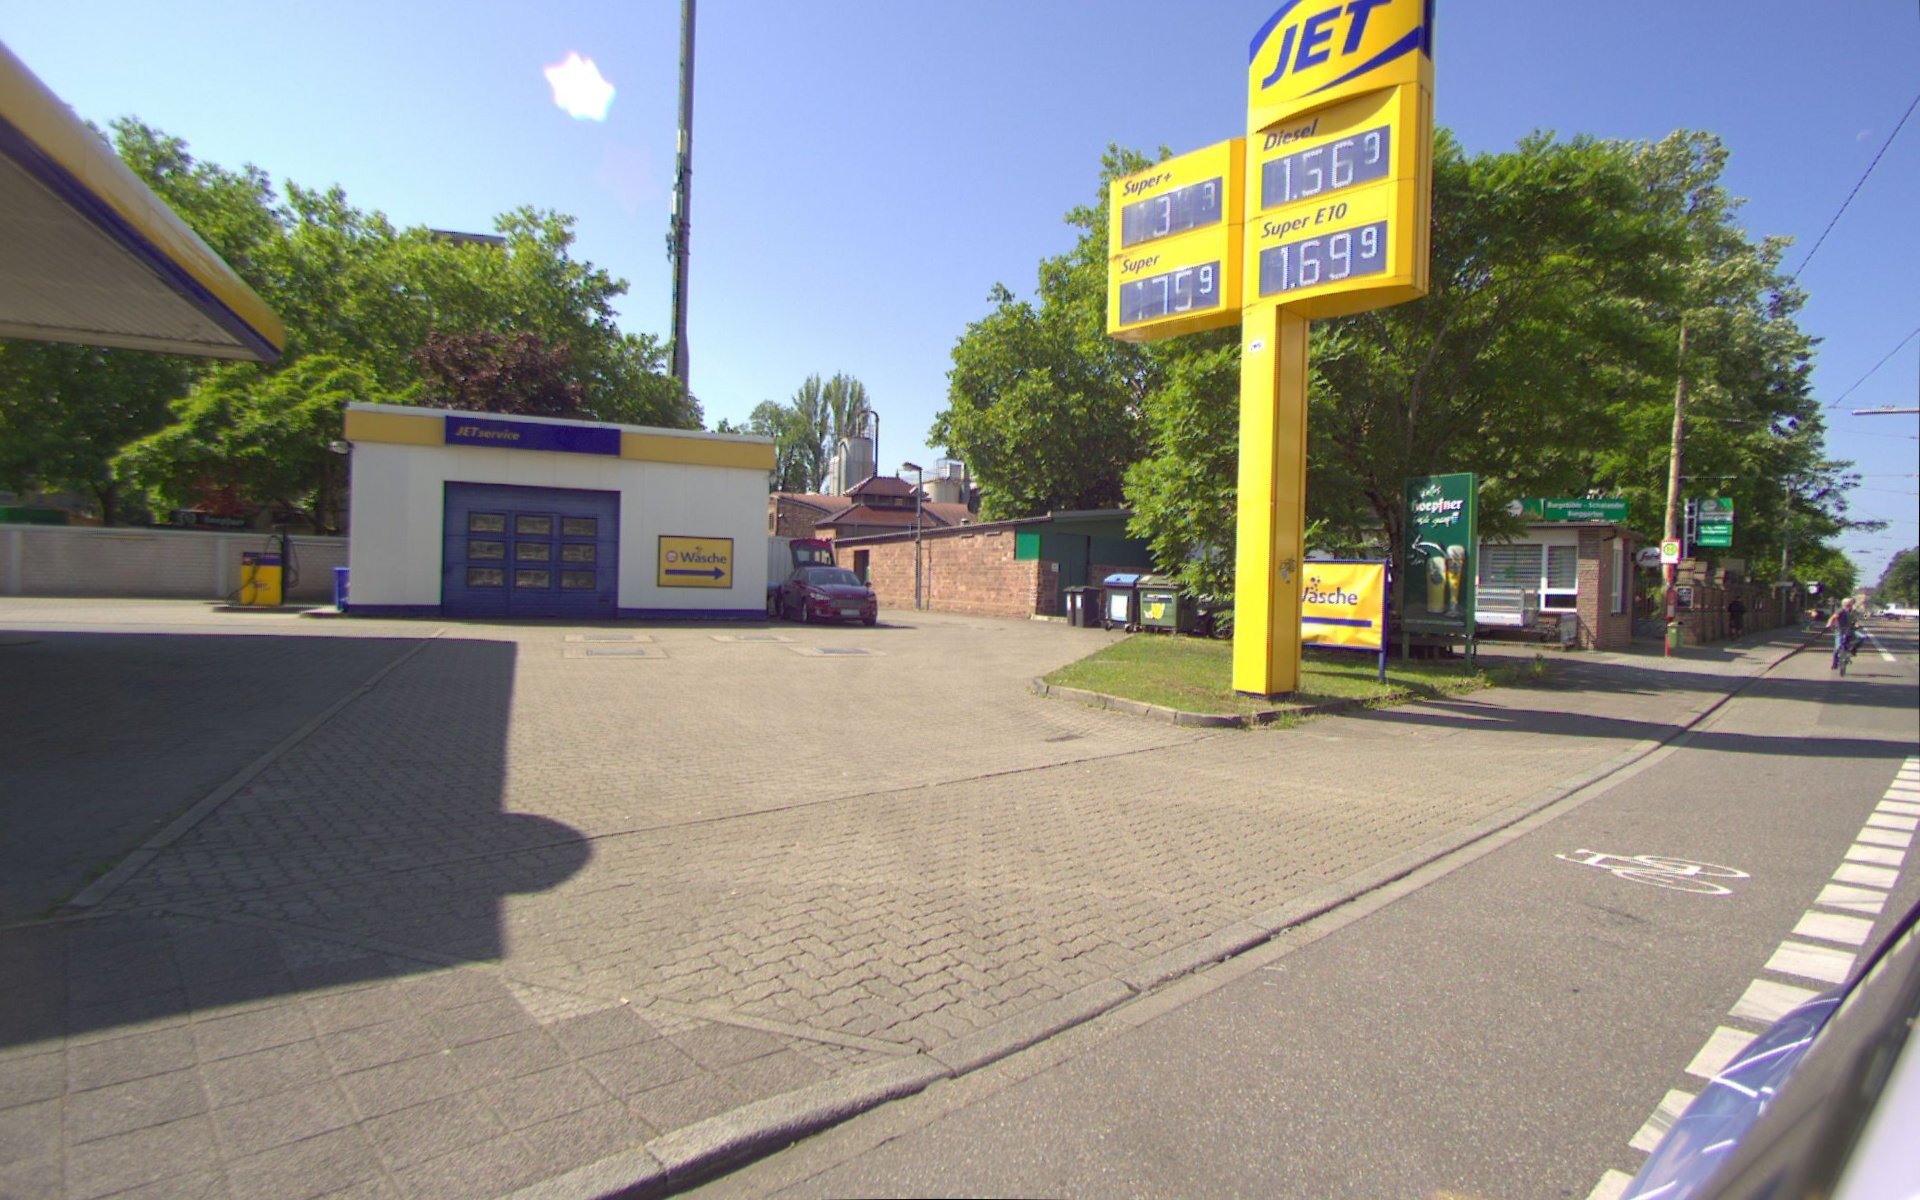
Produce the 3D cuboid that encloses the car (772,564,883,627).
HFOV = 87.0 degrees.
[{"bbox_3d":[-3.532,-0.177,26.258,1.853,1.478,4.566,0,2,-21],"label":"car"}]

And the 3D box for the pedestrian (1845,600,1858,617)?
[{"bbox_3d":[107.142,1.036,121.637,1.103,2.039,1.148,0,-1,42],"label":"pedestrian"}]

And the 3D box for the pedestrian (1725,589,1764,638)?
[{"bbox_3d":[31.269,0.543,40.337,0.977,1.837,1.166,7,4,43],"label":"pedestrian"}]

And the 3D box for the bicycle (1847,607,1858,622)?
[{"bbox_3d":[107.084,1.750,121.432,0.996,1.766,3.114,0,0,43],"label":"bicycle"}]

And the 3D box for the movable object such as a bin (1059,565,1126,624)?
[{"bbox_3d":[3.527,-0.130,27.034,1.303,1.521,1.332,1,0,-18],"label":"movable object such as a bin"}]

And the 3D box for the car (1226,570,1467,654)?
[{"bbox_3d":[8.572,0.238,22.734,4.568,1.661,2.022,2,1,-3],"label":"car"}]

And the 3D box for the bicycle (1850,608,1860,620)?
[{"bbox_3d":[82.415,1.295,93.161,0.592,1.119,2.022,2,1,43],"label":"bicycle"}]

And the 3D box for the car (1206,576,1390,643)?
[{"bbox_3d":[8.451,0.208,25.499,3.921,1.492,1.849,2,1,-3],"label":"car"}]

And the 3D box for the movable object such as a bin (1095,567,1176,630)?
[{"bbox_3d":[4.374,-0.050,25.301,1.352,1.521,1.424,1,1,-31],"label":"movable object such as a bin"}]

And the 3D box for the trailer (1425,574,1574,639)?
[{"bbox_3d":[14.944,0.151,28.088,3.276,1.623,1.695,3,1,45],"label":"trailer"}]

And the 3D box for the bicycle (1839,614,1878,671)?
[{"bbox_3d":[20.419,0.944,23.028,0.609,1.212,2.091,-2,-2,41],"label":"bicycle"}]

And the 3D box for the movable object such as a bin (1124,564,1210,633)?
[{"bbox_3d":[4.836,-0.047,23.665,1.356,1.521,1.419,1,1,-44],"label":"movable object such as a bin"}]

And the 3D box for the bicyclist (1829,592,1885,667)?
[{"bbox_3d":[20.253,0.648,22.864,0.903,1.615,0.950,2,0,42],"label":"bicyclist"}]
